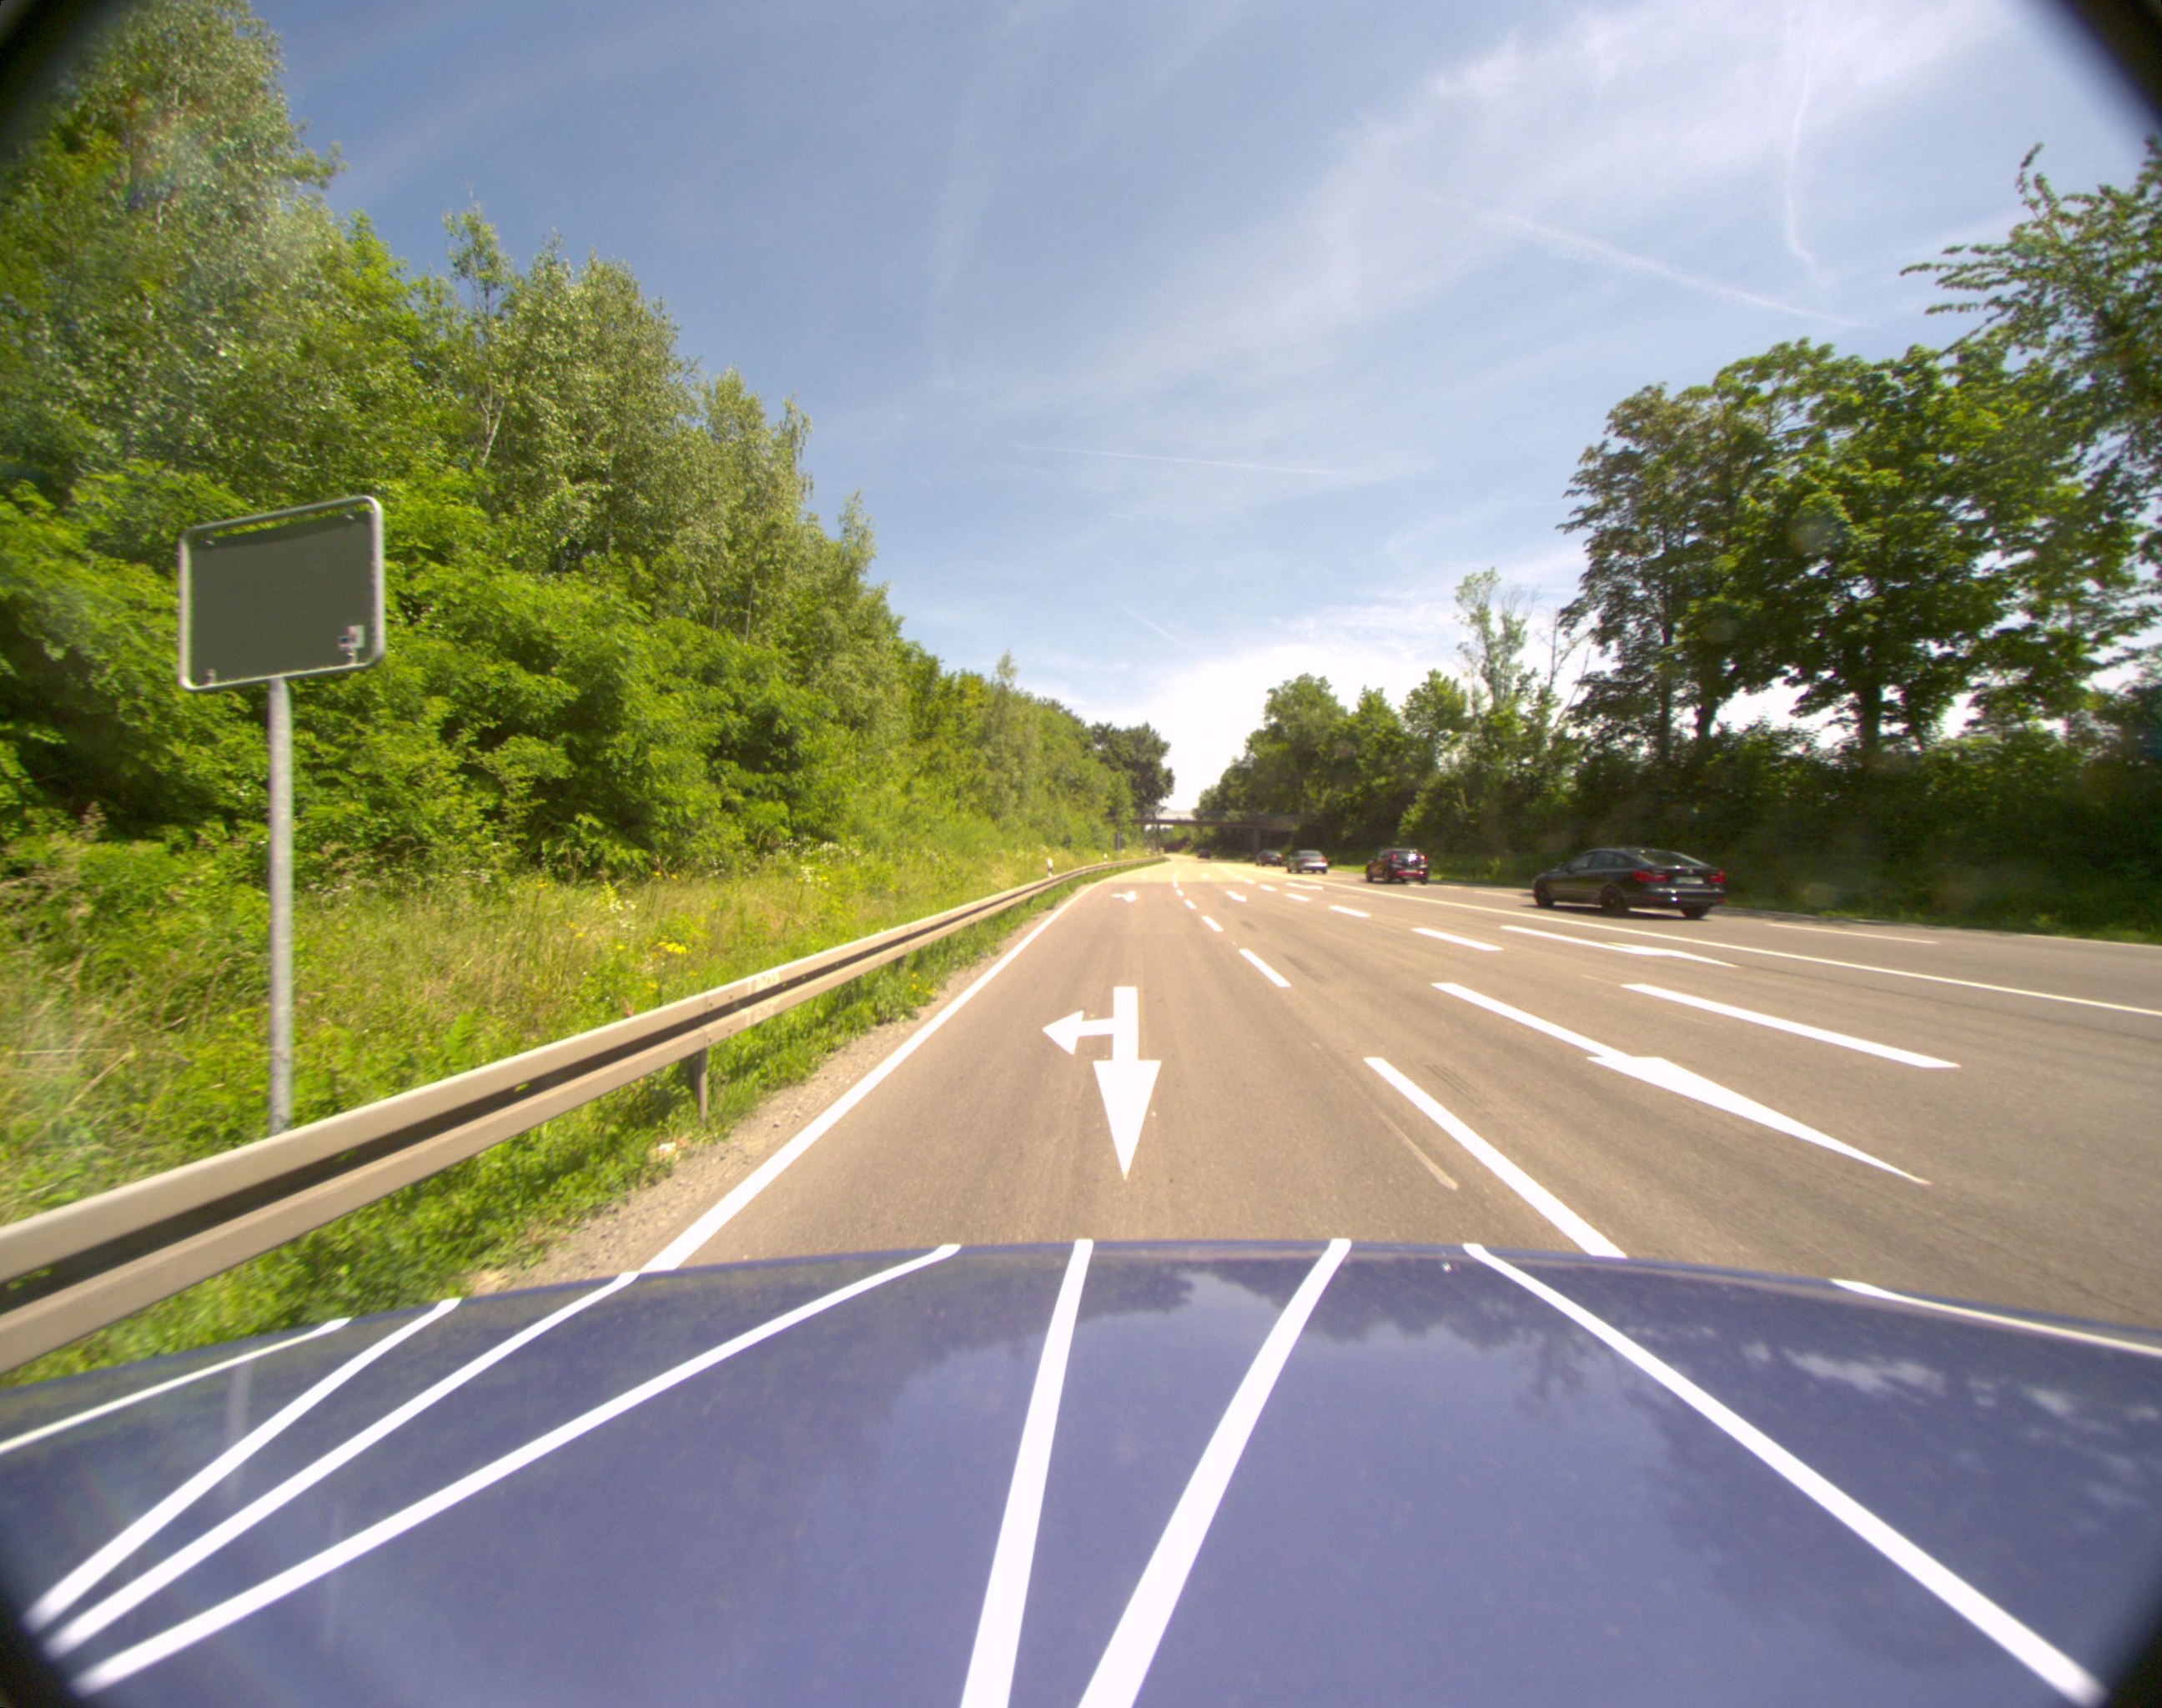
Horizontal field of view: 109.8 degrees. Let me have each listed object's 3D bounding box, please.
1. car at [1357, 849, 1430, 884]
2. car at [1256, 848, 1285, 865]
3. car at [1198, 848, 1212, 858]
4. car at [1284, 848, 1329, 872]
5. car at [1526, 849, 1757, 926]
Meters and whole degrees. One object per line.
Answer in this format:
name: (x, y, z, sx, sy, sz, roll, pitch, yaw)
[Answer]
car: (13.631, 0.511, 33.355, 1.645, 1.430, 4.017, 0, 0, 2)
car: (16.791, 0.225, 67.426, 1.771, 1.378, 4.000, -1, 1, 3)
car: (20.008, -0.166, 122.684, 1.907, 1.500, 3.765, 0, 0, 3)
car: (14.016, 0.335, 47.416, 1.771, 1.378, 4.000, -1, 1, 3)
car: (12.288, 0.667, 17.149, 1.923, 1.472, 4.688, 1, 0, 3)
